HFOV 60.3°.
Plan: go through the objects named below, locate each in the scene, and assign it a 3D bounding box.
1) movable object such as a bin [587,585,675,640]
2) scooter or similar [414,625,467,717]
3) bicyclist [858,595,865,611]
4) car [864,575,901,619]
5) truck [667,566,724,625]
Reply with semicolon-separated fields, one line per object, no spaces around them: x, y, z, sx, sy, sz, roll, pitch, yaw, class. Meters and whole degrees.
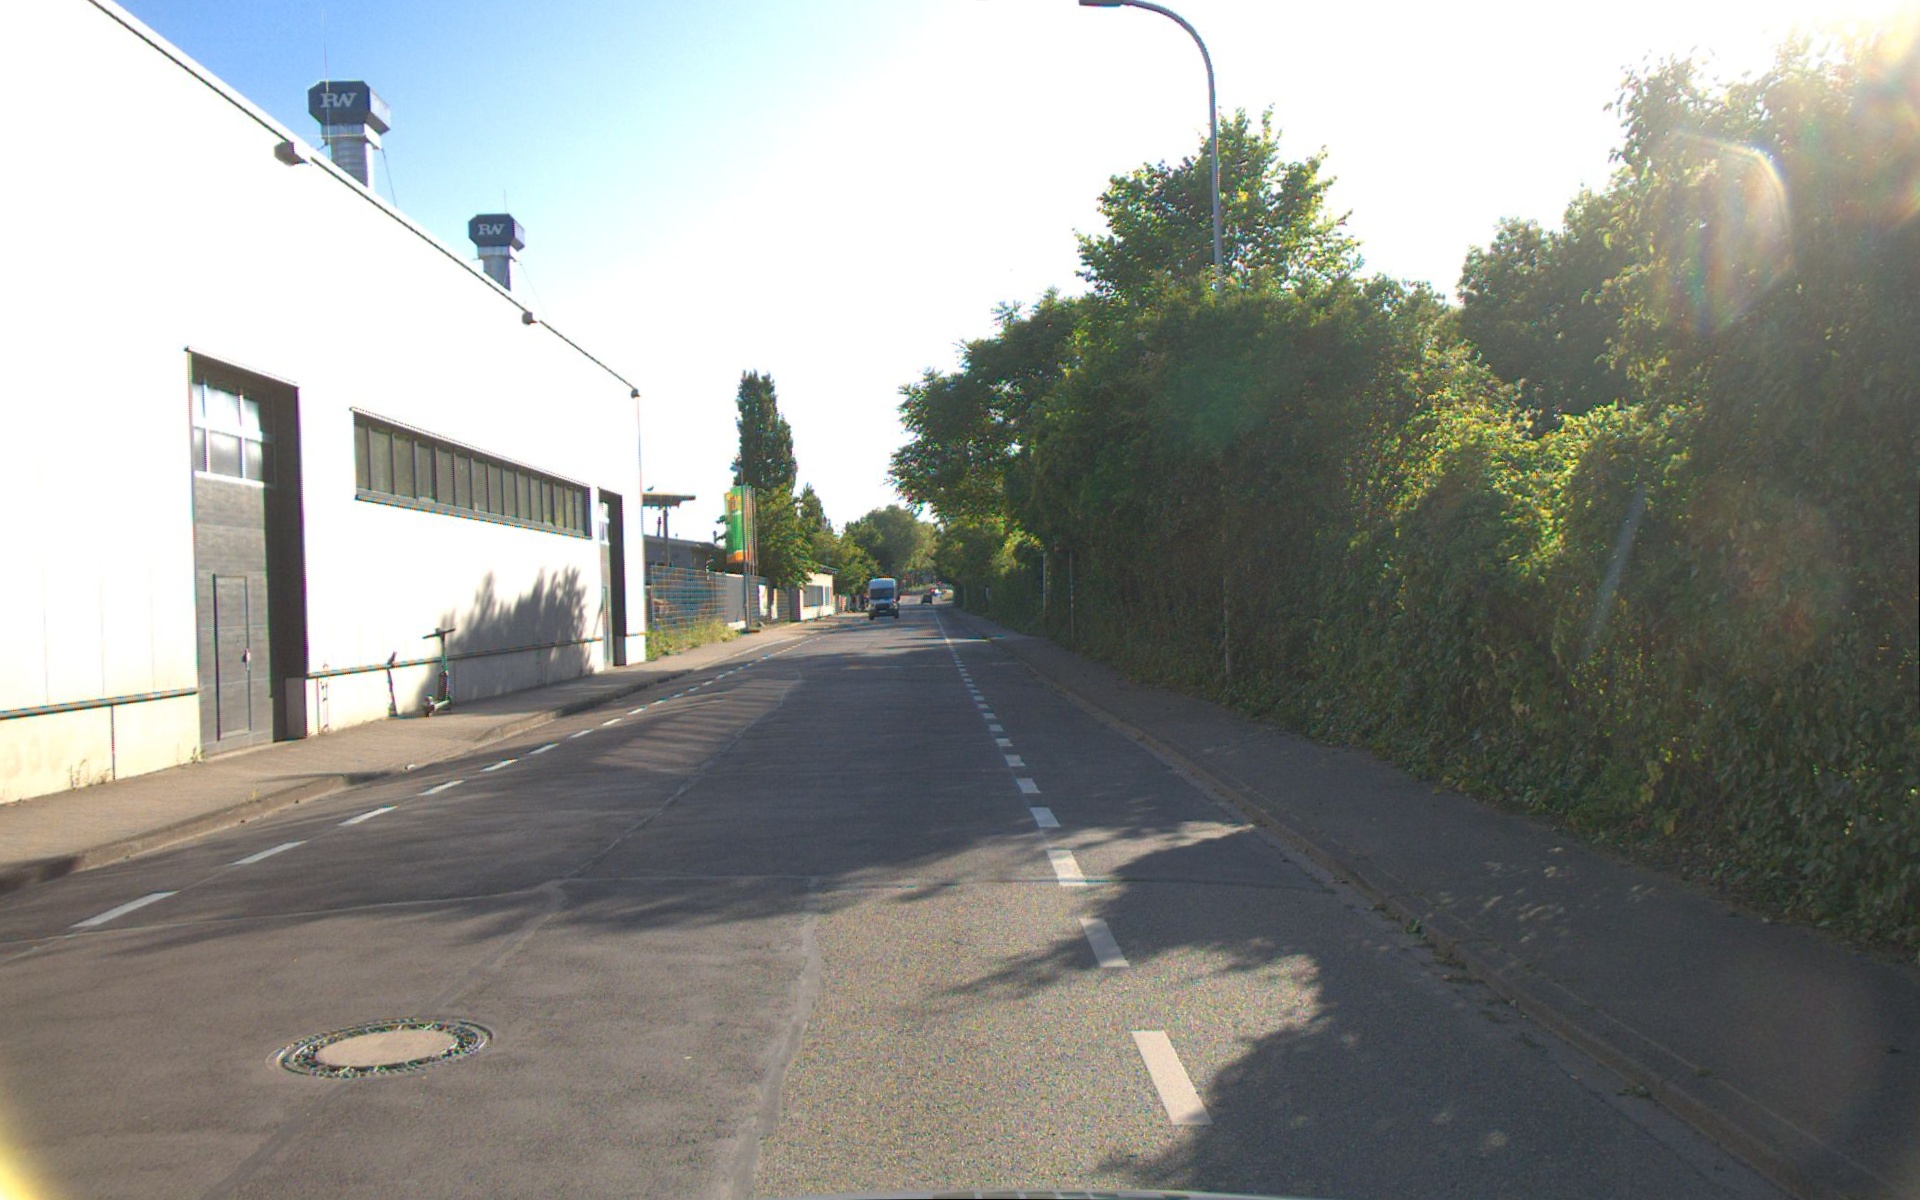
-12.401;0.446;62.409;2.979;1.867;1.525;-3;1;-3;movable object such as a bin
-7.650;1.035;24.399;0.407;1.289;1.059;-3;1;-1;scooter or similar
-9.774;0.289;164.632;0.675;1.558;0.722;-1;0;-1;bicyclist
-5.298;-0.216;114.149;2.080;2.828;5.926;-5;0;-1;car
-13.555;-0.252;85.111;2.037;2.809;5.763;-3;1;-2;truck
